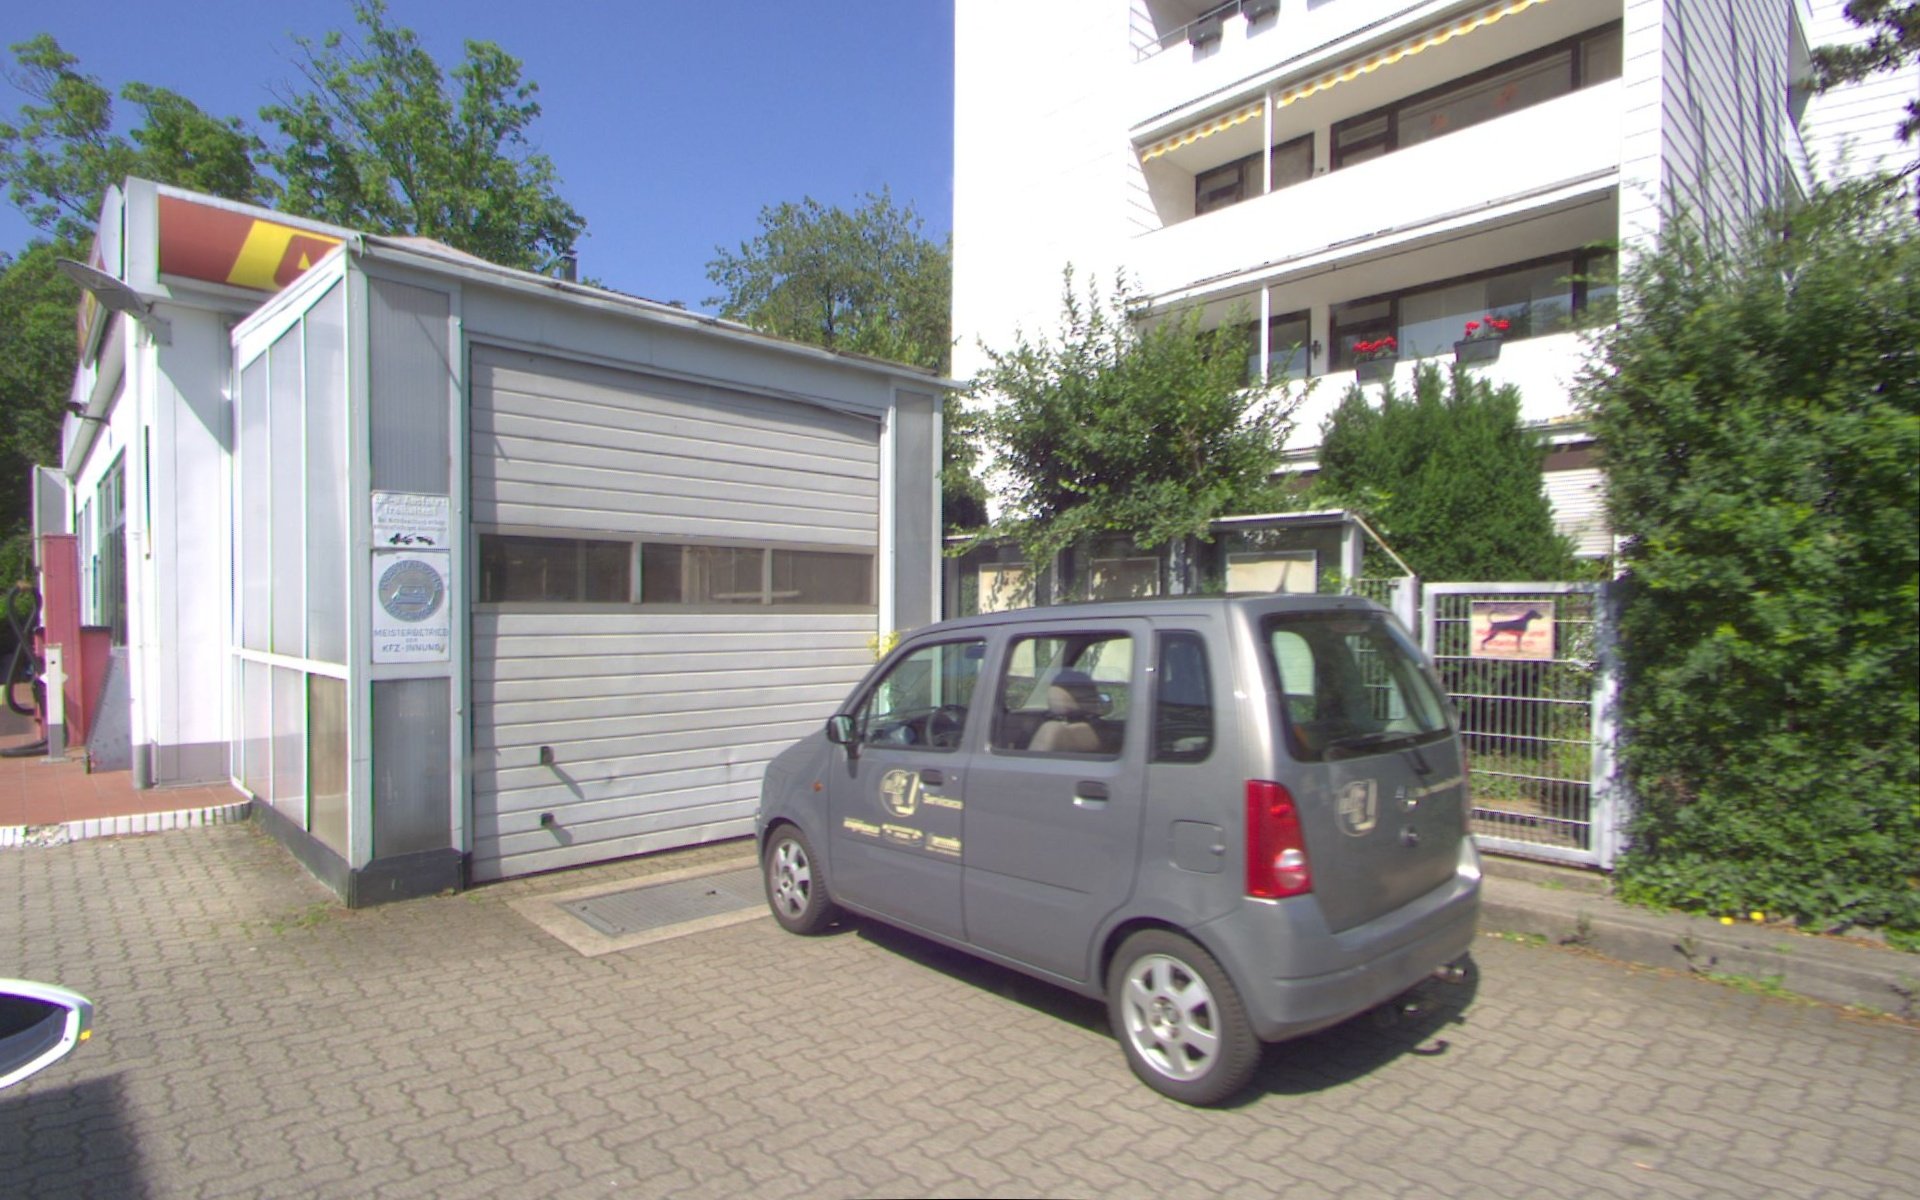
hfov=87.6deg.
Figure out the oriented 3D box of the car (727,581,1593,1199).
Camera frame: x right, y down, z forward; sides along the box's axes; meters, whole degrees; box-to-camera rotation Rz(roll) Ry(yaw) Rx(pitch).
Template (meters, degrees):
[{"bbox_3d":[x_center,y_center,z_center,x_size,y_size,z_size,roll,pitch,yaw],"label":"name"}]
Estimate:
[{"bbox_3d":[0.551,0.826,4.568,1.674,1.638,3.631,1,-2,-41],"label":"car"}]
